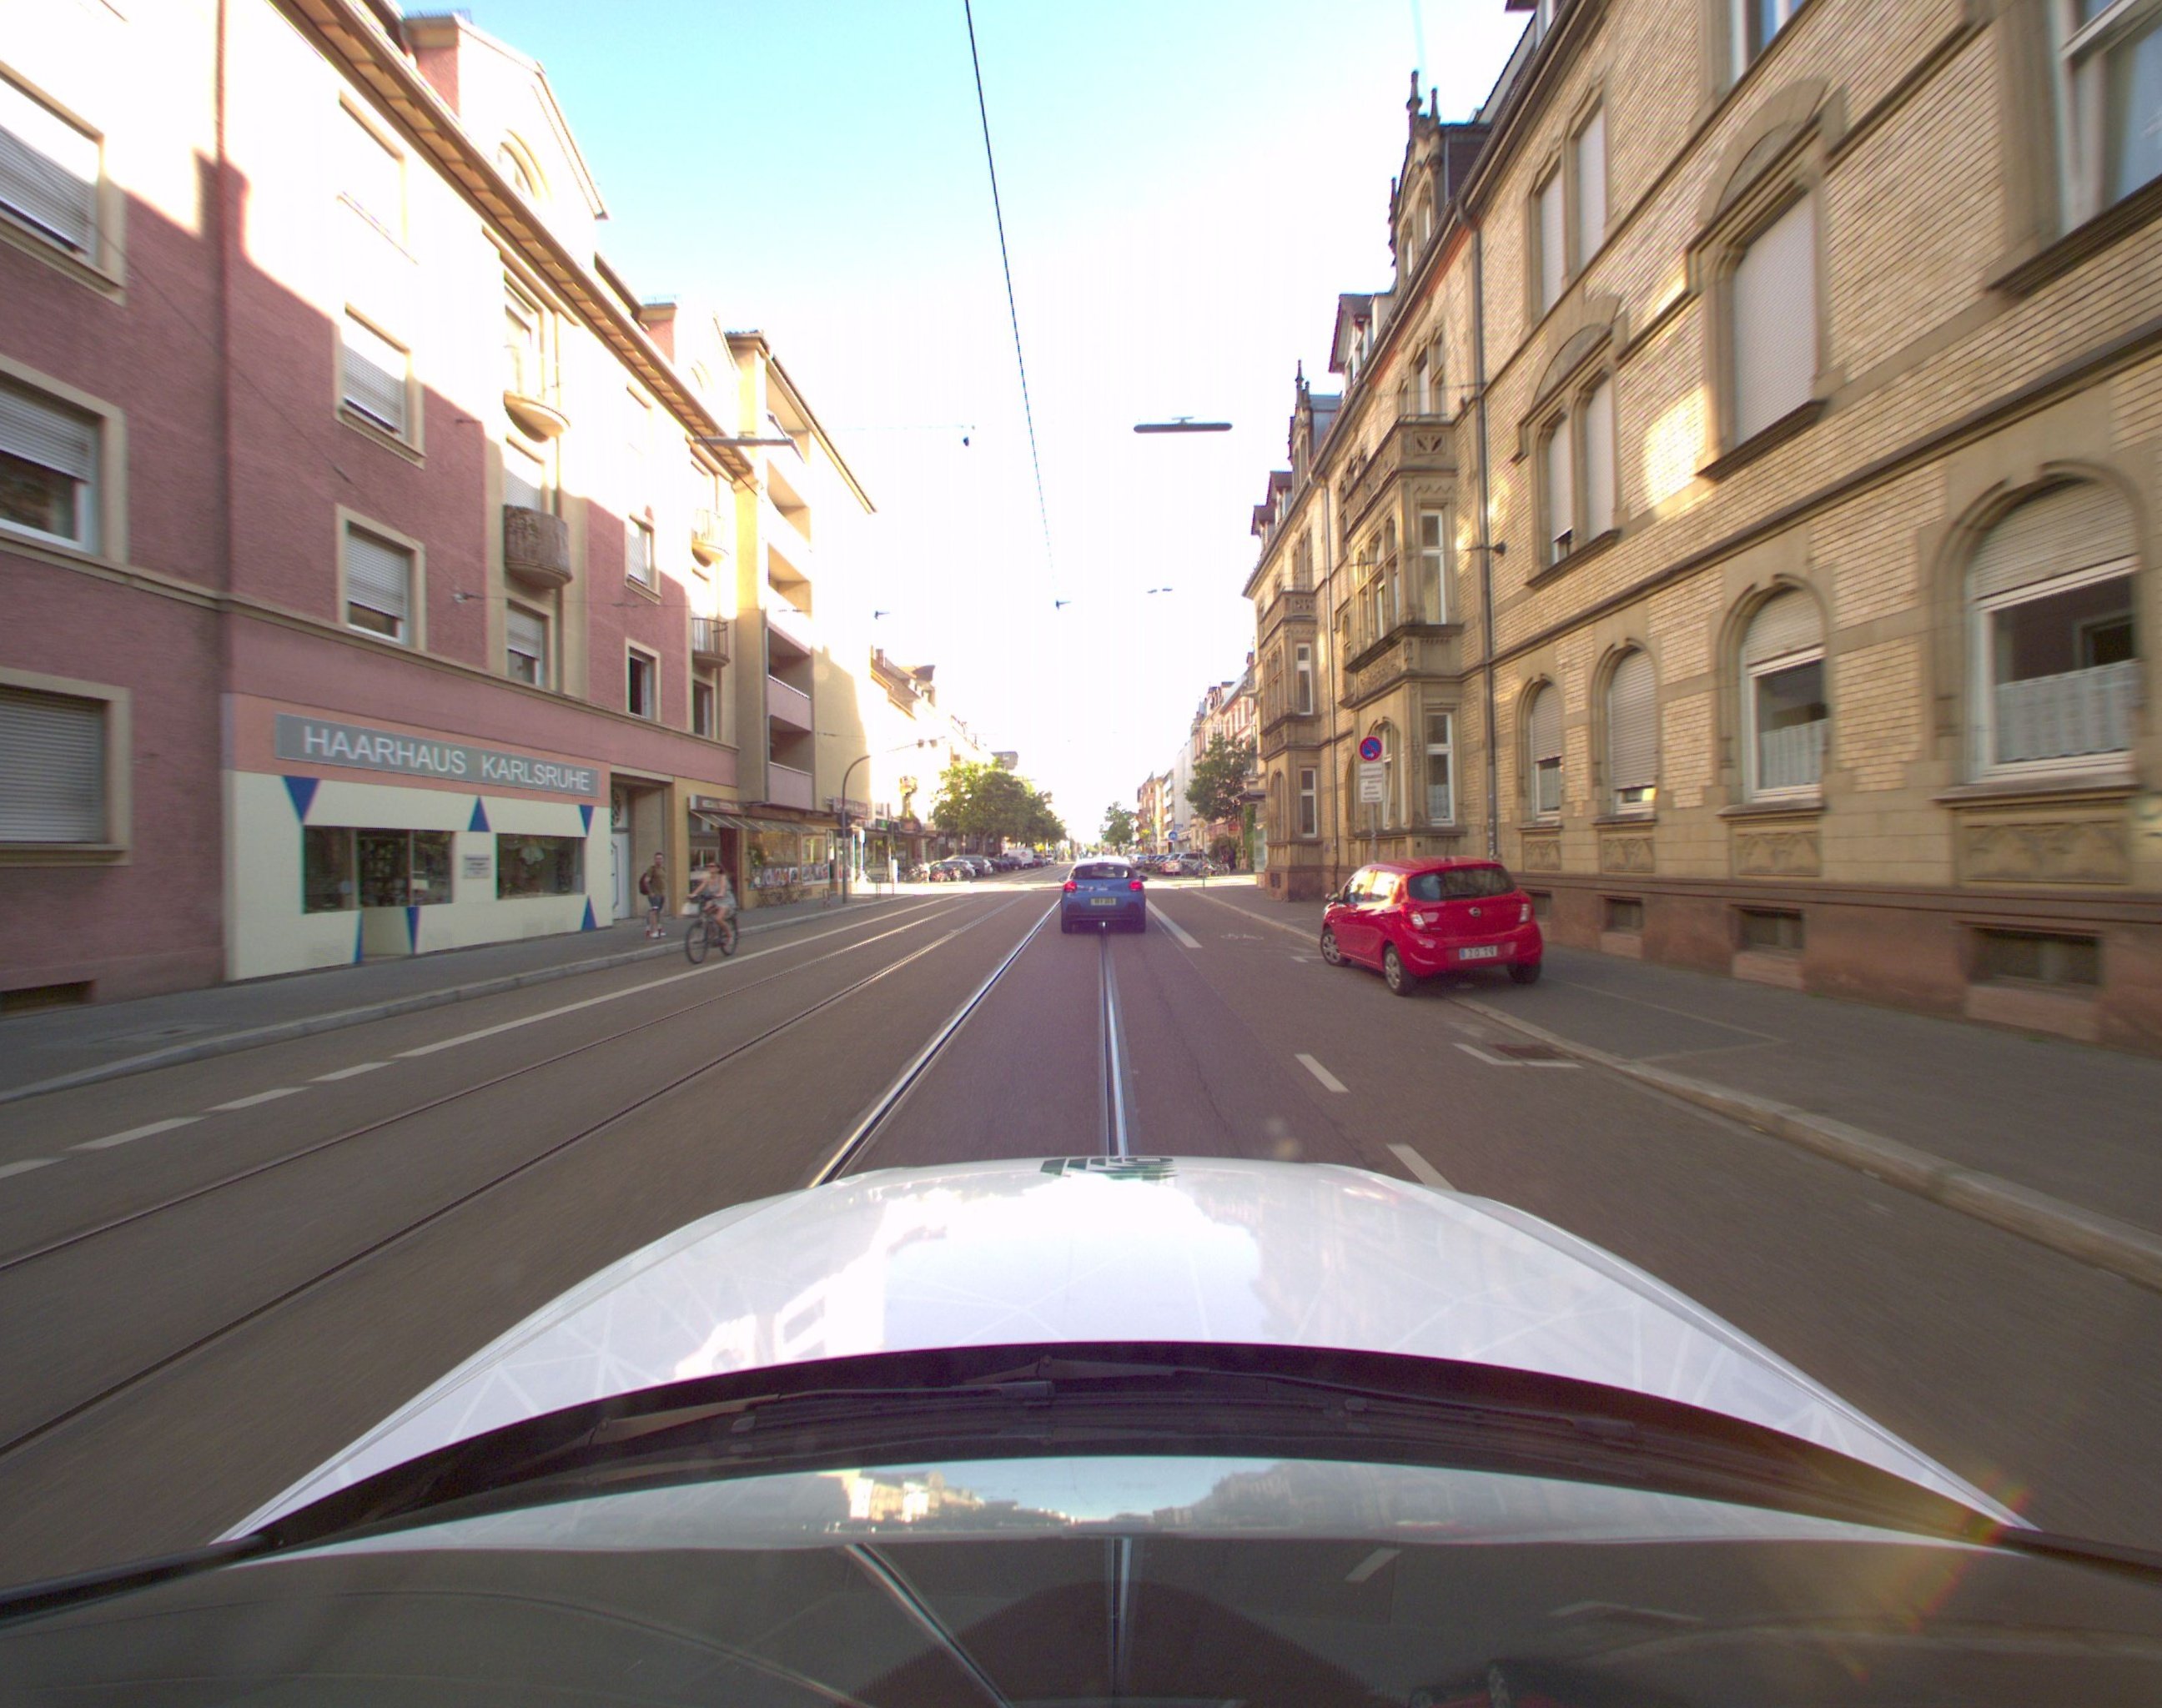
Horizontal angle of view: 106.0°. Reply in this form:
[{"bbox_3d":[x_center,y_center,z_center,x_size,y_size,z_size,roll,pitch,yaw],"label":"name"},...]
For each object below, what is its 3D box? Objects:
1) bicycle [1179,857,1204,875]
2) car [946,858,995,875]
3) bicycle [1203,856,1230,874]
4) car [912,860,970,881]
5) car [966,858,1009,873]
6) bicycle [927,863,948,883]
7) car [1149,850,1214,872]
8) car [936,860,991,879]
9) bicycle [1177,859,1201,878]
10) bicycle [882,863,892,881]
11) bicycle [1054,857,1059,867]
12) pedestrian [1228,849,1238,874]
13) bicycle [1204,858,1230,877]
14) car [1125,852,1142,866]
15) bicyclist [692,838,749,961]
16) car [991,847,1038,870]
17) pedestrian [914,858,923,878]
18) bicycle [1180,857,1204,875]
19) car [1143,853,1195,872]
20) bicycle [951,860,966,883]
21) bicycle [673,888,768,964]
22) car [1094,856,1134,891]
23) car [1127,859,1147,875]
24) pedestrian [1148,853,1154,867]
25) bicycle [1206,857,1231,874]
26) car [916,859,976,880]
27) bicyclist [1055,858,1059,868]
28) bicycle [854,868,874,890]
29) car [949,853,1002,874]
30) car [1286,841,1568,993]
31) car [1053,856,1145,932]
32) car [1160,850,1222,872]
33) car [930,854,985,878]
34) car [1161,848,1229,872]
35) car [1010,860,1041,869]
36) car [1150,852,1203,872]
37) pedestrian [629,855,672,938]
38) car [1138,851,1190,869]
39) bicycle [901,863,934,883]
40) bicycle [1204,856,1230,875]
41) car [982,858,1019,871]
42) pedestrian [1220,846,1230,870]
[{"bbox_3d":[7.116,0.769,52.322,1.547,1.079,0.308,-1,-1,7],"label":"bicycle"},{"bbox_3d":[-9.383,1.038,69.189,3.850,1.430,1.751,0,-1,-25],"label":"car"},{"bbox_3d":[8.534,0.707,51.345,1.665,1.127,0.552,-1,-1,7],"label":"bicycle"},{"bbox_3d":[-9.398,1.066,54.599,3.484,1.337,1.608,0,-1,-33],"label":"car"},{"bbox_3d":[-9.431,1.166,82.135,4.008,1.489,1.790,0,-1,-27],"label":"car"},{"bbox_3d":[-9.099,1.197,51.583,0.686,1.123,1.870,-2,2,-30],"label":"bicycle"},{"bbox_3d":[7.598,0.535,61.594,4.454,1.596,2.072,0,-1,-24],"label":"car"},{"bbox_3d":[-9.487,1.223,65.839,4.032,1.449,1.682,0,-1,-32],"label":"car"},{"bbox_3d":[6.677,0.879,50.476,1.395,1.127,0.550,-1,-1,-7],"label":"bicycle"},{"bbox_3d":[-12.290,1.153,51.502,0.404,1.109,1.825,-1,-1,-20],"label":"bicycle"},{"bbox_3d":[-3.963,1.315,133.263,0.678,1.679,2.097,-1,-1,1],"label":"bicycle"},{"bbox_3d":[10.963,0.552,58.693,0.516,1.778,0.864,-1,-1,1],"label":"pedestrian"},{"bbox_3d":[8.398,0.819,50.185,1.547,1.127,0.552,-1,-1,7],"label":"bicycle"},{"bbox_3d":[6.310,0.635,97.889,1.866,1.596,4.001,-1,-1,2],"label":"car"},{"bbox_3d":[-6.100,0.753,13.819,0.609,2.014,0.734,-1,-1,1],"label":"bicyclist"},{"bbox_3d":[-8.139,0.581,99.617,5.403,2.749,1.789,0,-1,-29],"label":"car"},{"bbox_3d":[-13.750,1.209,68.907,0.567,1.652,0.641,-1,-1,1],"label":"pedestrian"},{"bbox_3d":[7.168,0.764,52.674,1.551,1.127,0.295,-1,-1,7],"label":"bicycle"},{"bbox_3d":[7.755,0.717,71.872,4.005,1.596,2.071,0,-1,-24],"label":"car"},{"bbox_3d":[-7.758,1.093,51.713,0.680,1.319,2.433,-1,2,-3],"label":"bicycle"},{"bbox_3d":[-6.079,1.176,13.858,0.600,1.096,2.045,-3,-1,2],"label":"bicycle"},{"bbox_3d":[1.589,0.908,39.750,1.866,1.596,4.001,-1,-1,2],"label":"car"},{"bbox_3d":[5.929,1.331,86.429,1.866,1.596,4.721,-1,-1,2],"label":"car"},{"bbox_3d":[8.190,0.729,95.465,0.709,1.607,0.654,-1,-1,0],"label":"pedestrian"},{"bbox_3d":[8.878,0.746,52.645,1.547,1.127,0.552,-1,-1,7],"label":"bicycle"},{"bbox_3d":[-9.492,1.070,57.389,3.805,1.400,1.737,0,-1,-32],"label":"car"},{"bbox_3d":[-3.958,1.439,133.392,0.632,1.681,0.727,-1,-1,1],"label":"bicyclist"},{"bbox_3d":[-12.399,1.396,46.542,0.680,1.109,2.431,-1,2,-5],"label":"bicycle"},{"bbox_3d":[-9.541,0.840,73.882,4.381,1.783,1.976,0,-1,-32],"label":"car"},{"bbox_3d":[4.241,0.692,10.877,1.859,1.483,4.401,-4,-1,1],"label":"car"},{"bbox_3d":[0.383,0.780,17.442,1.756,1.441,3.557,-1,-1,1],"label":"car"},{"bbox_3d":[7.918,0.486,58.527,4.005,1.536,1.903,0,-1,-24],"label":"car"},{"bbox_3d":[-9.561,0.934,63.205,3.831,1.785,1.781,0,-1,-27],"label":"car"},{"bbox_3d":[7.837,0.385,55.925,4.371,1.596,1.839,0,-1,-24],"label":"car"},{"bbox_3d":[-7.488,1.404,109.762,3.815,1.265,1.504,0,-1,-25],"label":"car"},{"bbox_3d":[8.104,0.687,69.001,4.005,1.596,1.944,0,-1,-24],"label":"car"},{"bbox_3d":[-8.939,0.869,16.939,0.561,1.686,0.616,-1,-1,0],"label":"pedestrian"},{"bbox_3d":[7.584,0.530,74.446,4.322,1.596,1.967,0,-1,-24],"label":"car"},{"bbox_3d":[-10.277,1.179,51.002,2.404,1.109,0.688,1,2,41],"label":"bicycle"},{"bbox_3d":[8.466,0.726,50.766,1.547,1.127,0.529,-1,-1,7],"label":"bicycle"},{"bbox_3d":[-9.236,1.209,93.620,3.994,1.489,1.797,0,-1,-16],"label":"car"},{"bbox_3d":[10.320,0.287,58.360,0.516,1.648,0.864,-1,-1,1],"label":"pedestrian"}]
